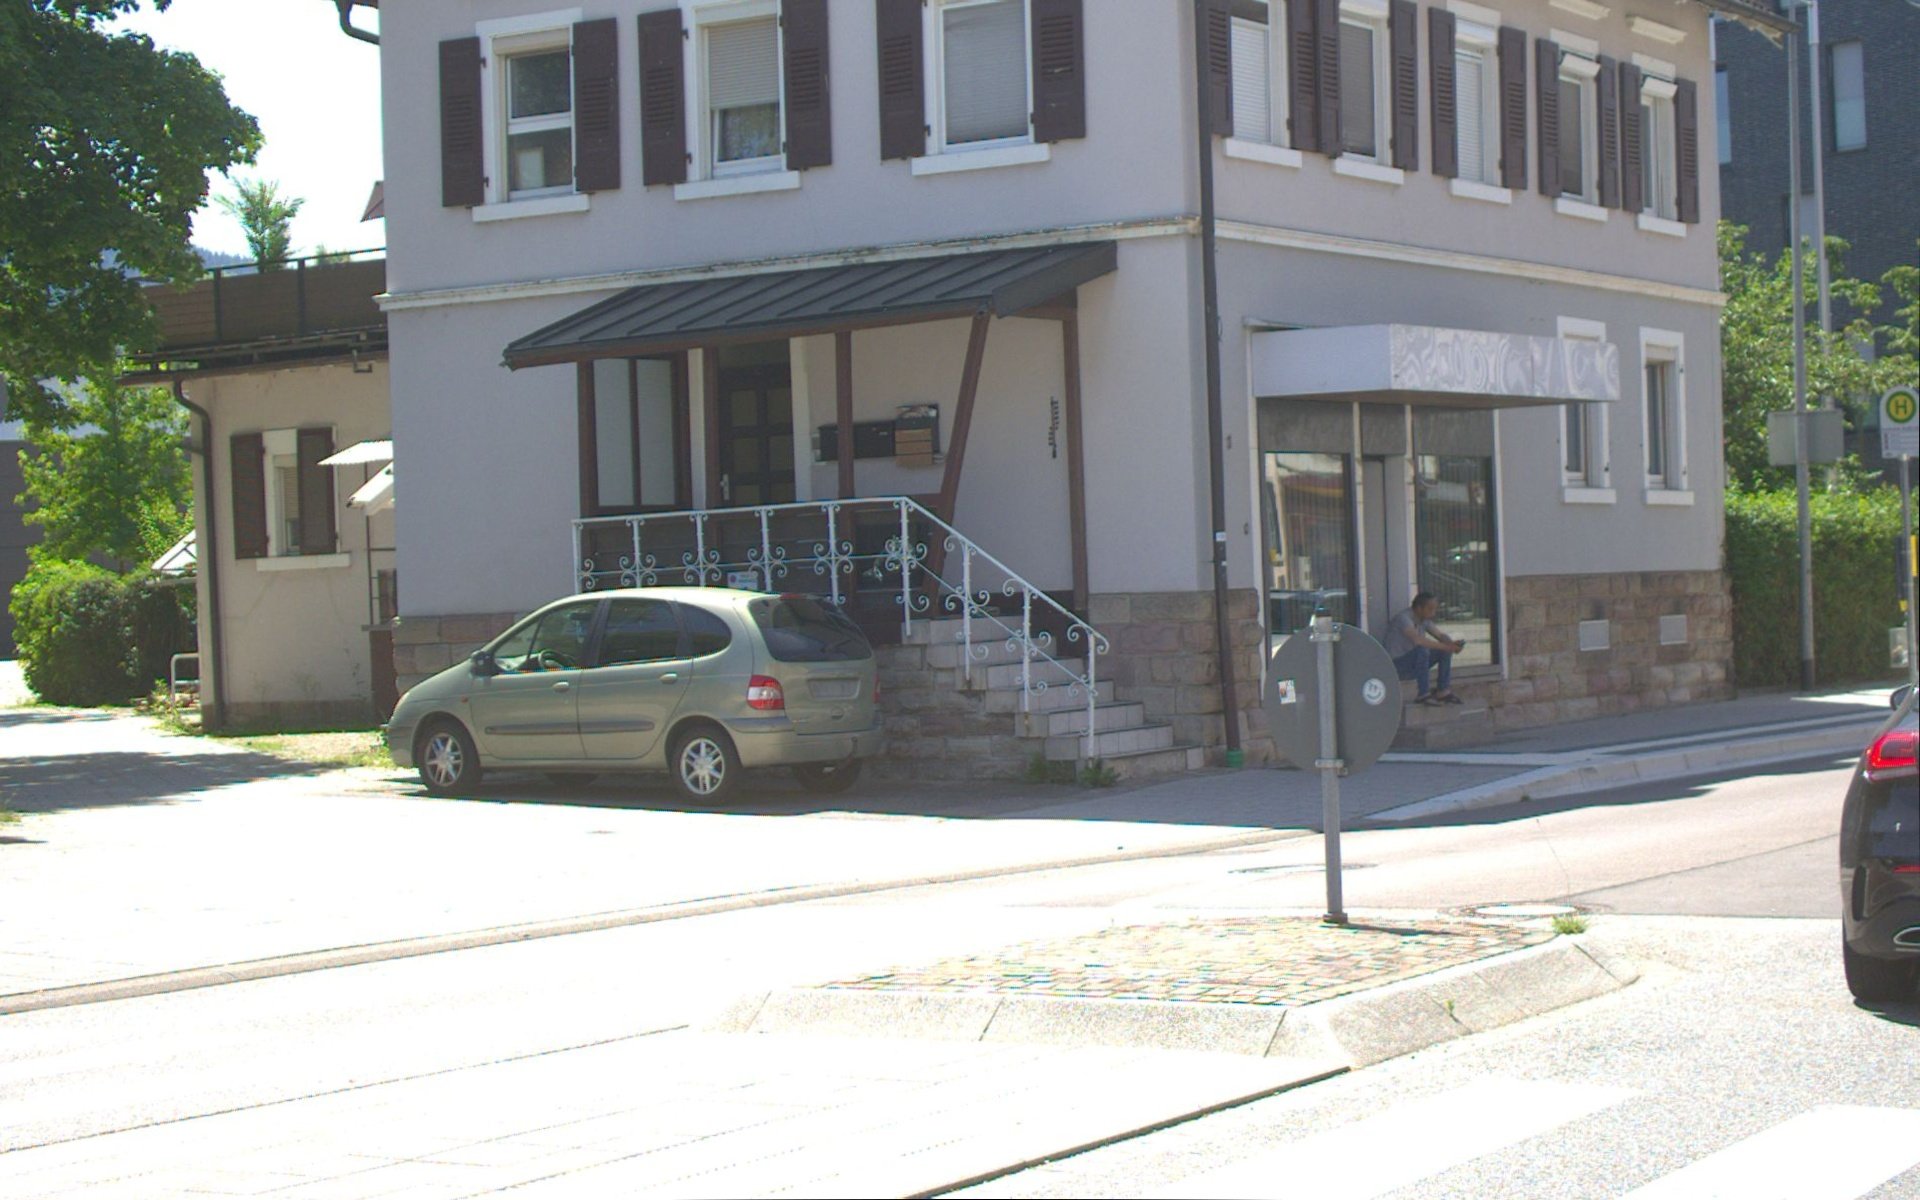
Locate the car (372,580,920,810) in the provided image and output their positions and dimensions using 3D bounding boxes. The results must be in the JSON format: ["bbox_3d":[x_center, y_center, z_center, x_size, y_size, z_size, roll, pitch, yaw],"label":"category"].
[{"bbox_3d":[-2.472,0.721,26.736,3.994,1.634,1.754,-1,0,34],"label":"car"}]

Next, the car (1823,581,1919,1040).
[{"bbox_3d":[4.491,0.639,12.890,1.765,1.452,4.433,-1,1,23],"label":"car"}]

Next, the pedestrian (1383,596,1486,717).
[{"bbox_3d":[4.236,0.505,30.689,0.671,1.051,0.698,-1,0,29],"label":"pedestrian"}]

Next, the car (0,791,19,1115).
[{"bbox_3d":[-4.562,0.917,9.215,1.548,1.408,3.711,-5,-1,36],"label":"car"}]
